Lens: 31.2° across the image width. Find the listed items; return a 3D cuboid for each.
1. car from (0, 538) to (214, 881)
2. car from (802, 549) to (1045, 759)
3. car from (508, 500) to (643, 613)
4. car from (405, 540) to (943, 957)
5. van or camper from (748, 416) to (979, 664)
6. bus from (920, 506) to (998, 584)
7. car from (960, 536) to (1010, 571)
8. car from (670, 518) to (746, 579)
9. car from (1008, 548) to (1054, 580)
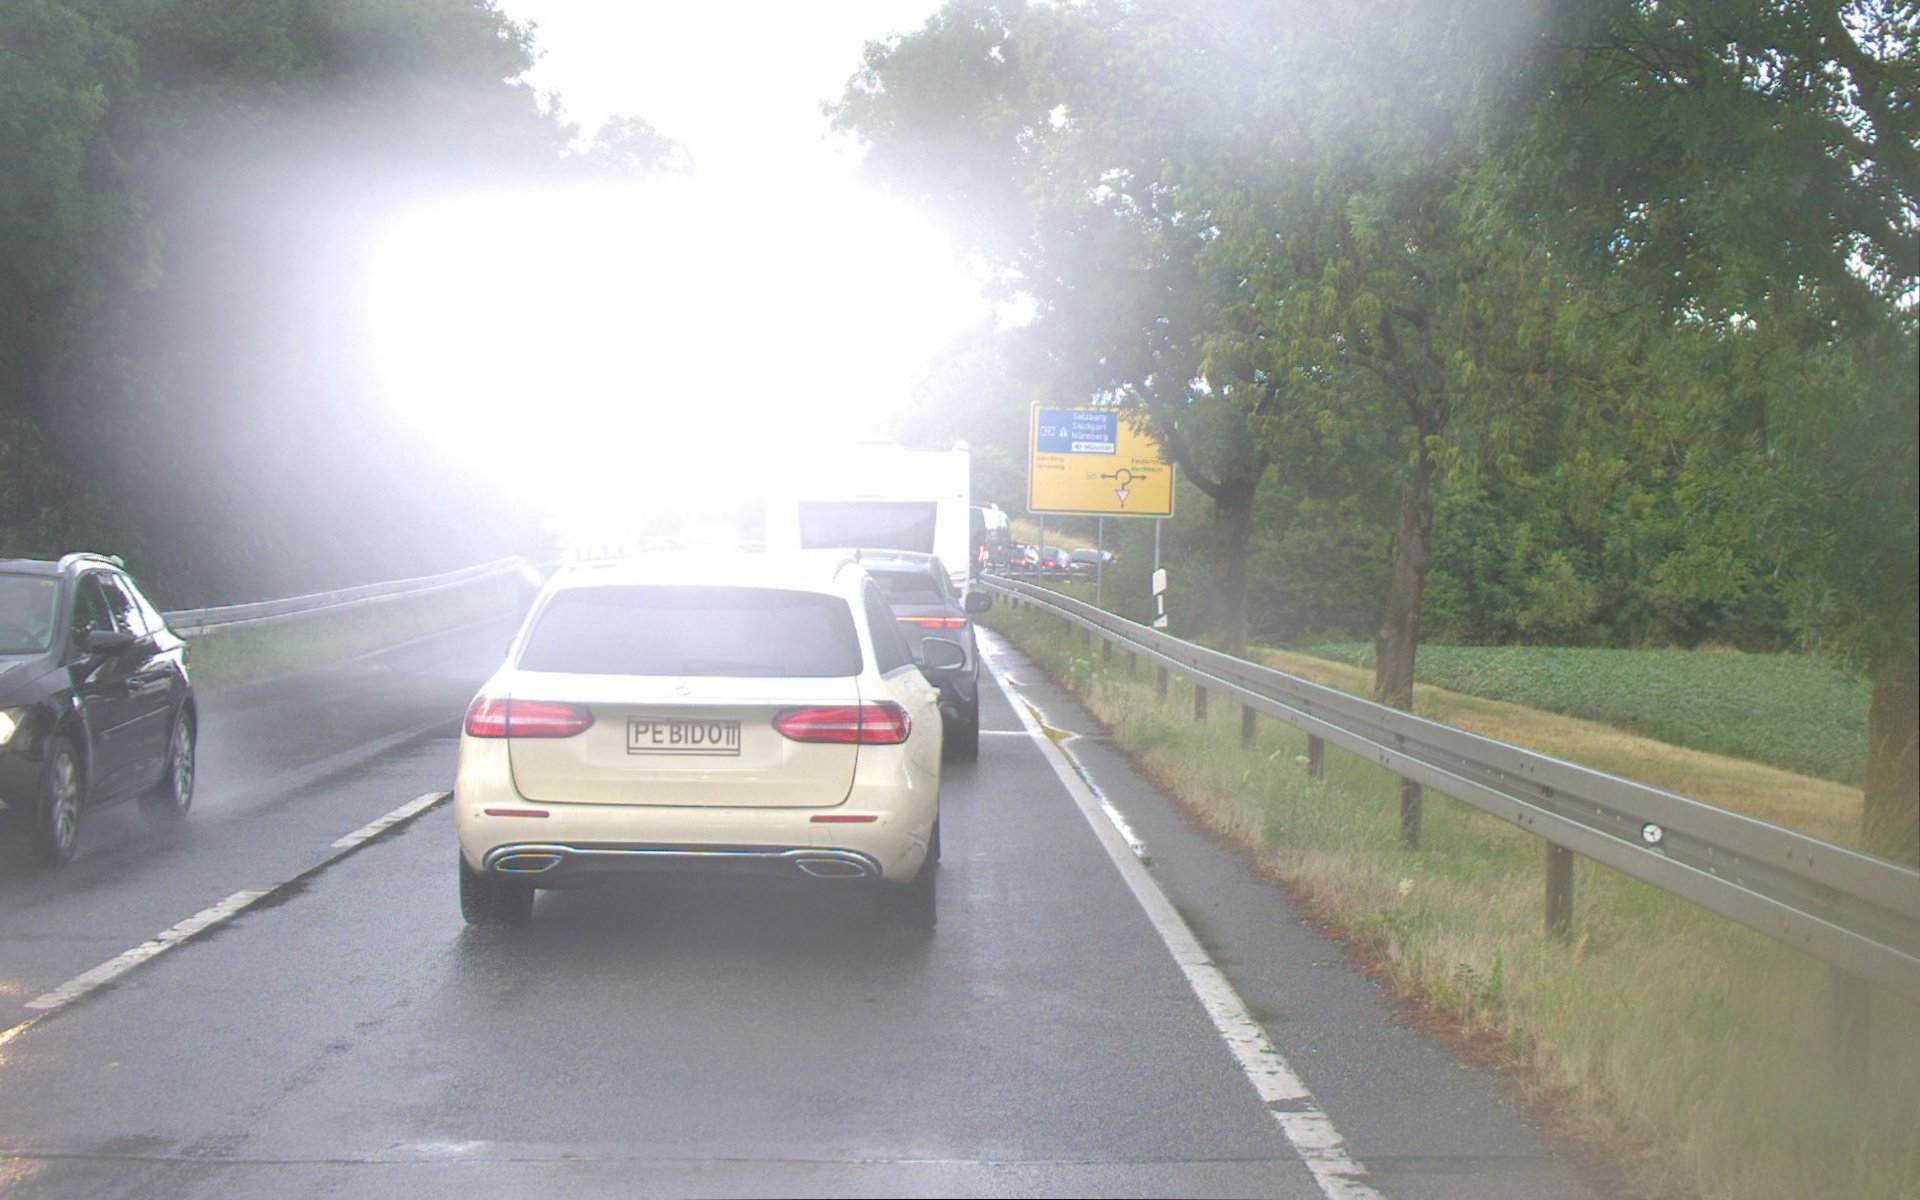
[{"bbox_3d":[-4.889,0.426,16.690,1.714,1.446,4.111,1,1,-1],"label":"car"},{"bbox_3d":[-0.236,0.341,25.697,1.664,1.426,4.000,0,1,0],"label":"car"},{"bbox_3d":[-6.337,-0.738,57.041,1.828,1.796,4.415,0,1,-1],"label":"car"},{"bbox_3d":[-1.029,0.494,14.250,1.865,1.471,4.000,0,1,0],"label":"car"},{"bbox_3d":[-1.044,-0.711,40.592,2.489,2.676,5.700,1,1,0],"label":"van or camper"},{"bbox_3d":[-0.042,-1.462,90.827,1.993,2.007,4.000,0,1,-1],"label":"bus"},{"bbox_3d":[0.806,-1.541,114.634,1.551,1.114,4.000,1,1,-1],"label":"car"},{"bbox_3d":[-6.182,-1.270,84.700,1.628,1.433,3.960,1,1,-1],"label":"car"},{"bbox_3d":[2.546,-1.279,123.973,1.551,1.114,4.000,1,1,0],"label":"car"}]
